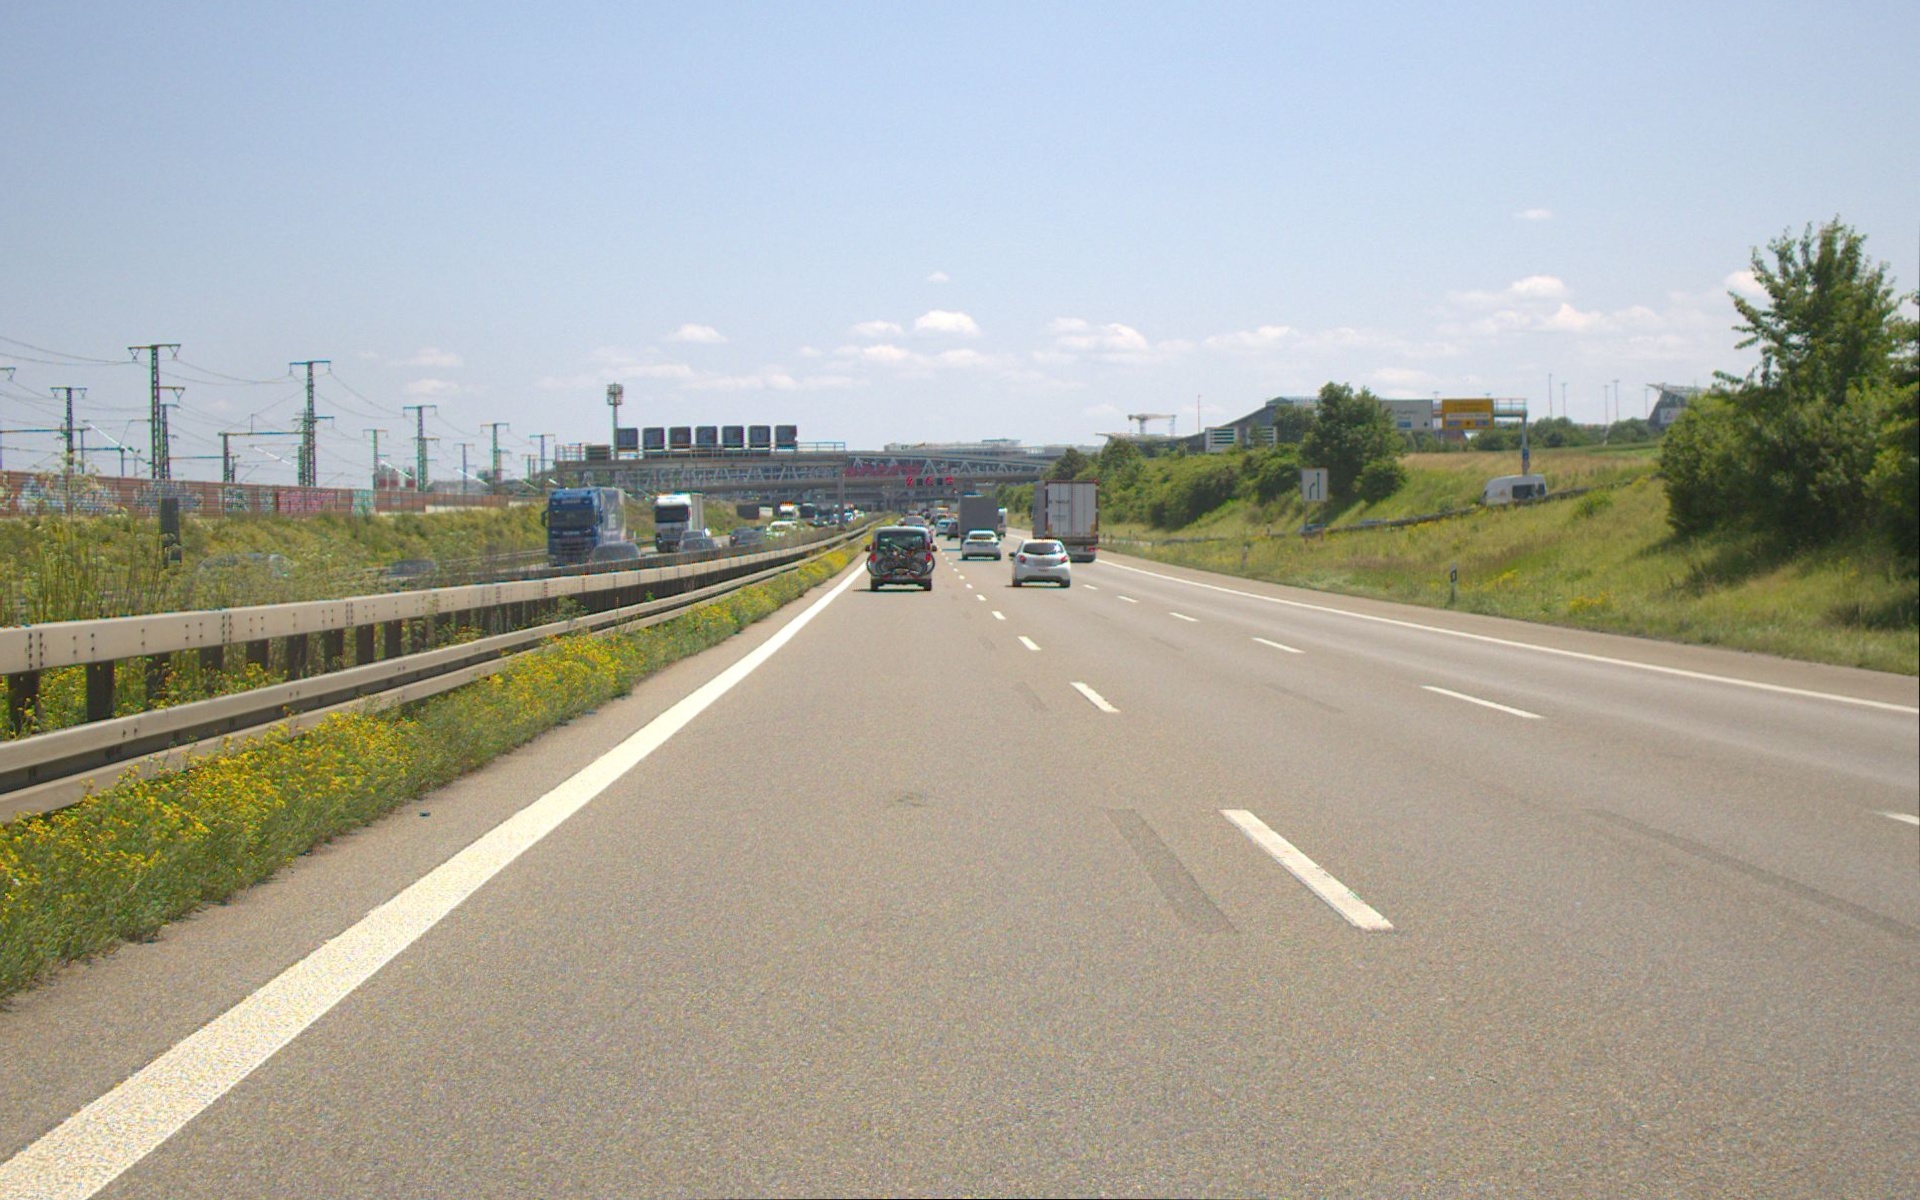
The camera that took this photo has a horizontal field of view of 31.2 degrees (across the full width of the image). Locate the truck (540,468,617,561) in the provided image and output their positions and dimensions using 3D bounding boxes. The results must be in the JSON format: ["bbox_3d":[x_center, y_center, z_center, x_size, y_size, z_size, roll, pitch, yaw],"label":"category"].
[{"bbox_3d":[-18.651,-4.205,168.469,2.888,4.392,7.504,-1,2,-1],"label":"truck"}]

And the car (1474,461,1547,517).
[{"bbox_3d":[25.121,-5.080,157.101,2.274,2.519,5.400,0,2,-2],"label":"car"}]

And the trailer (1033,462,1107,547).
[{"bbox_3d":[5.376,-4.717,169.648,3.177,4.045,9.440,-1,2,-1],"label":"trailer"}]

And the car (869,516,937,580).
[{"bbox_3d":[-1.612,-1.475,98.068,1.880,1.769,4.000,-1,1,-1],"label":"car"}]

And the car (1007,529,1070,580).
[{"bbox_3d":[2.423,-1.405,105.748,1.881,1.521,4.000,0,1,2],"label":"car"}]

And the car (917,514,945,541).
[{"bbox_3d":[-2.107,-5.319,252.232,1.993,2.007,4.000,0,1,-1],"label":"car"}]

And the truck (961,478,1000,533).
[{"bbox_3d":[1.249,-5.943,215.463,2.355,3.404,6.058,0,2,-1],"label":"truck"}]

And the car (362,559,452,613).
[{"bbox_3d":[-16.214,-0.433,100.906,1.993,1.482,3.932,-2,1,-1],"label":"car"}]

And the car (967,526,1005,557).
[{"bbox_3d":[1.307,-2.955,172.417,1.881,1.521,4.000,0,1,0],"label":"car"}]
